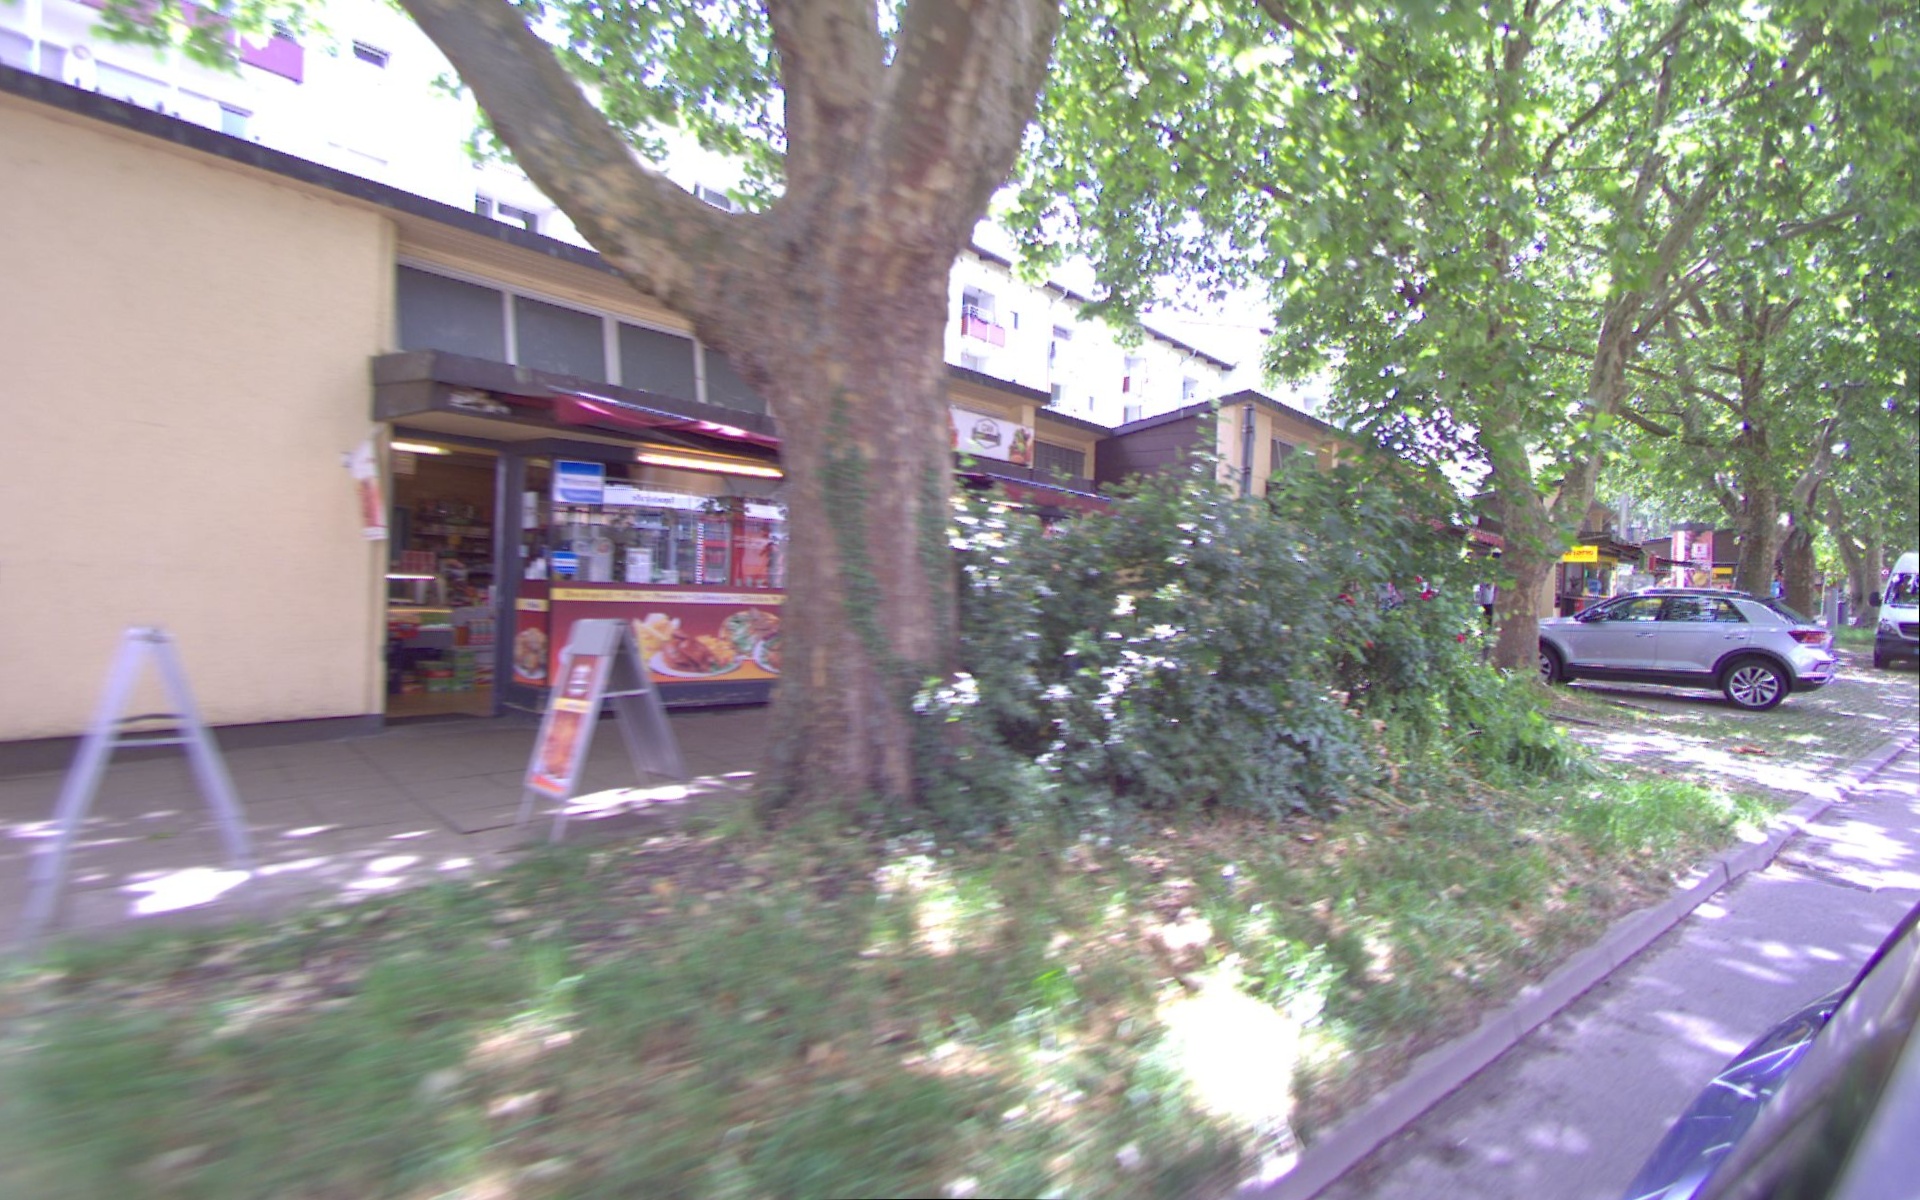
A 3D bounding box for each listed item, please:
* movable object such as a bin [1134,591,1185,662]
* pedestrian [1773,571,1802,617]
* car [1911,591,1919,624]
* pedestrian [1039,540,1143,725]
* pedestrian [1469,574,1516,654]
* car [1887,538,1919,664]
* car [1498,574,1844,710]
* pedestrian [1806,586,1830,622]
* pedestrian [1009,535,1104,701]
[{"bbox_3d":[3.175,0.401,16.096,0.518,1.081,0.699,3,2,39],"label":"movable object such as a bin"},{"bbox_3d":[35.565,-0.260,43.477,0.925,1.906,0.745,0,3,-42],"label":"pedestrian"},{"bbox_3d":[49.889,0.394,49.963,1.699,1.631,4.041,0,1,-37],"label":"car"},{"bbox_3d":[1.263,0.285,9.762,0.758,1.697,0.625,0,1,-41],"label":"pedestrian"},{"bbox_3d":[12.585,0.310,23.943,0.595,1.823,0.926,1,2,3],"label":"pedestrian"},{"bbox_3d":[22.822,0.043,22.914,6.715,2.612,1.908,0,3,-41],"label":"car"},{"bbox_3d":[10.023,0.482,14.450,3.829,1.581,1.595,4,3,43],"label":"car"},{"bbox_3d":[35.570,0.153,41.952,1.011,1.465,0.626,0,1,-41],"label":"pedestrian"},{"bbox_3d":[1.061,0.172,11.137,0.759,1.746,0.648,3,2,45],"label":"pedestrian"}]
